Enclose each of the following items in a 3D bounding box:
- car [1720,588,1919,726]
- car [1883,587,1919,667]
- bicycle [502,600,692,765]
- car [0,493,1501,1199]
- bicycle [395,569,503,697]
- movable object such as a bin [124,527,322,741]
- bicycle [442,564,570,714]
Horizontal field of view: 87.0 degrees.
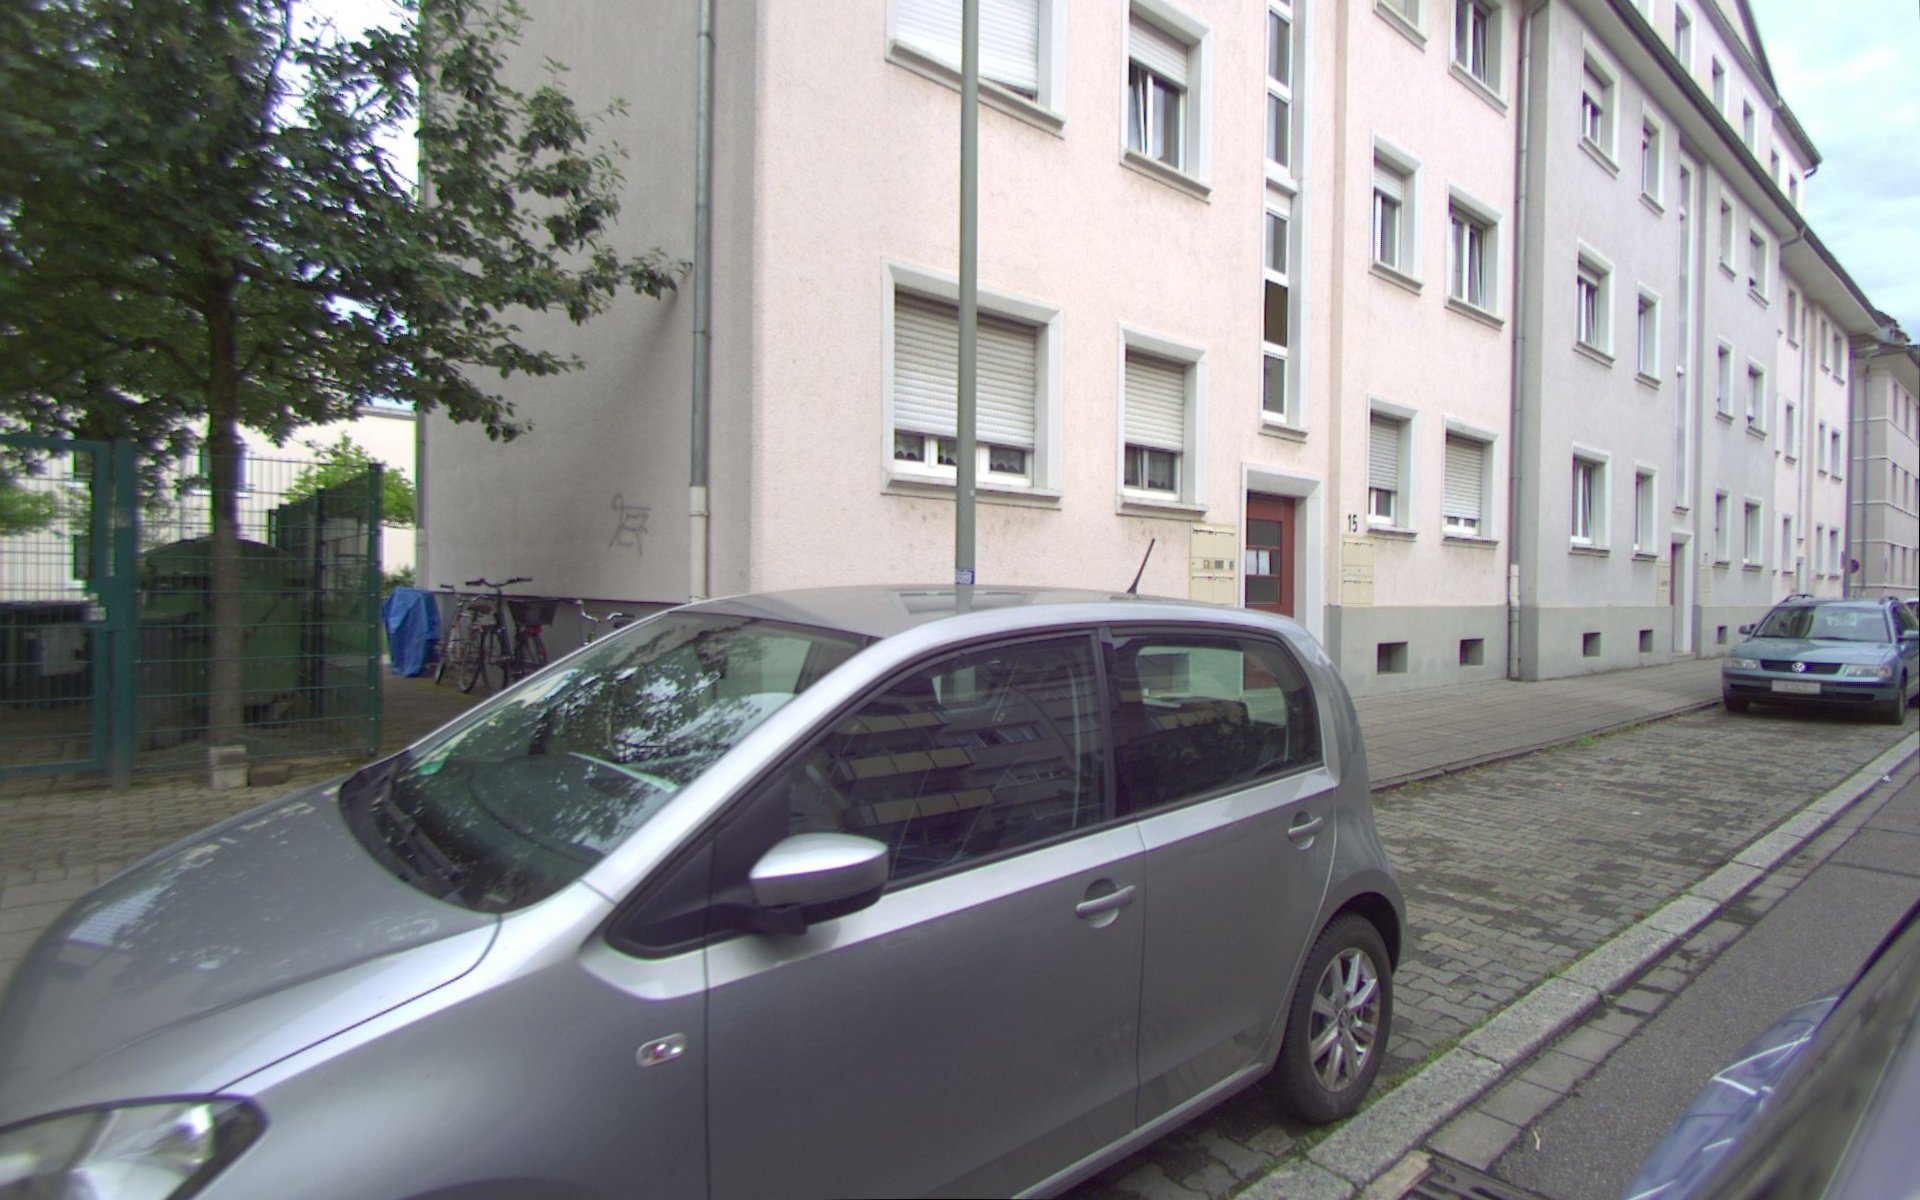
[{"bbox_3d":[11.455,0.614,13.117,4.190,1.487,1.728,0,1,-41],"label":"car"},{"bbox_3d":[20.998,0.563,21.324,3.736,1.619,1.787,0,1,-40],"label":"car"},{"bbox_3d":[-2.895,0.558,7.910,0.637,1.090,2.212,0,1,-41],"label":"bicycle"},{"bbox_3d":[-0.268,0.638,2.703,3.990,1.511,1.728,0,1,-41],"label":"car"},{"bbox_3d":[-5.571,0.320,10.988,0.589,1.299,1.616,0,0,-44],"label":"bicycle"},{"bbox_3d":[-5.636,0.223,7.725,1.129,1.462,1.163,0,0,-41],"label":"movable object such as a bin"},{"bbox_3d":[-4.311,0.323,9.560,0.589,1.299,1.616,0,0,-44],"label":"bicycle"}]
